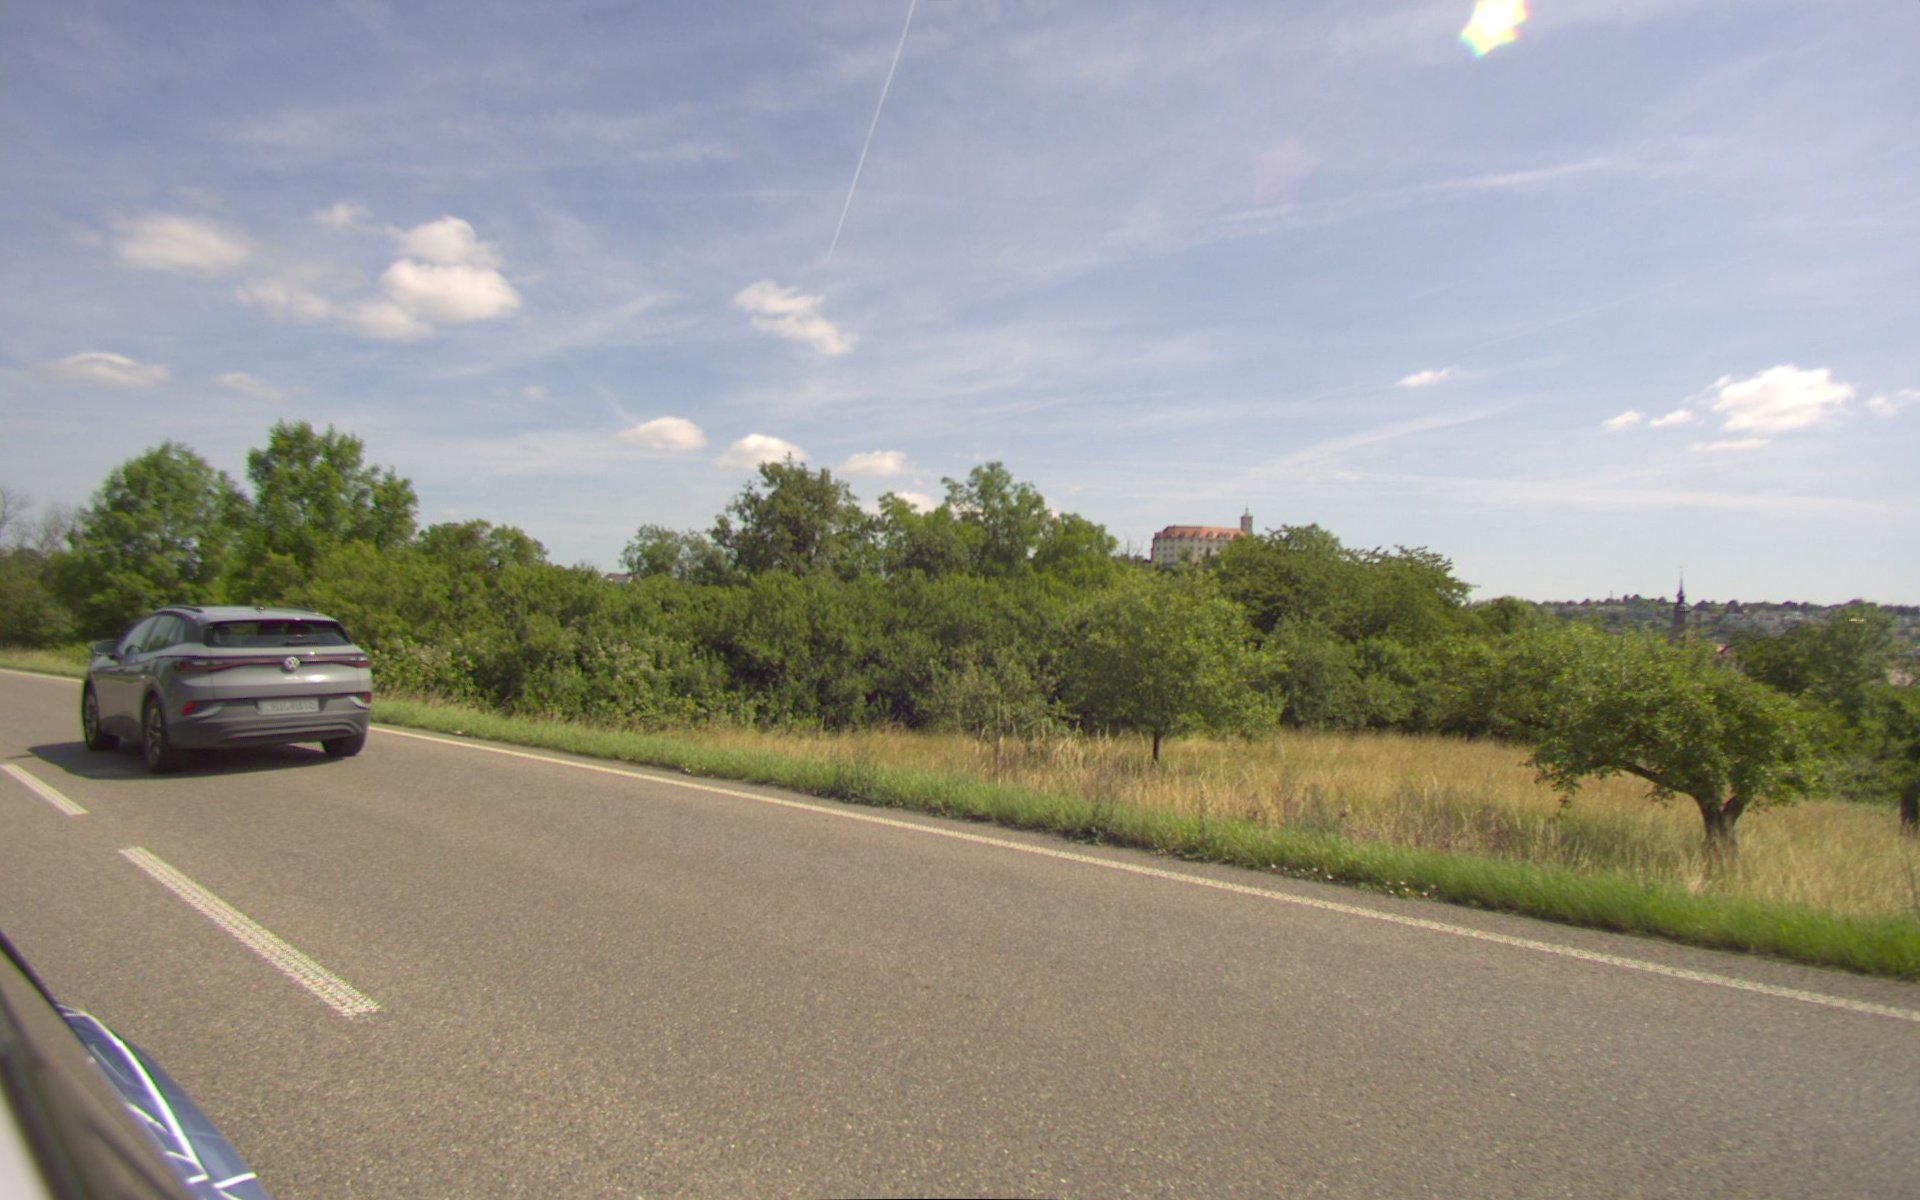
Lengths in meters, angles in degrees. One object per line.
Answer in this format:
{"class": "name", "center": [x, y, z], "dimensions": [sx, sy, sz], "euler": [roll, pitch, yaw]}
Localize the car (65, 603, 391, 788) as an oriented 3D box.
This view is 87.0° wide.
{"class": "car", "center": [-8.054, 0.872, 10.972], "dimensions": [4.488, 1.605, 1.860], "euler": [-1, -2, 41]}
